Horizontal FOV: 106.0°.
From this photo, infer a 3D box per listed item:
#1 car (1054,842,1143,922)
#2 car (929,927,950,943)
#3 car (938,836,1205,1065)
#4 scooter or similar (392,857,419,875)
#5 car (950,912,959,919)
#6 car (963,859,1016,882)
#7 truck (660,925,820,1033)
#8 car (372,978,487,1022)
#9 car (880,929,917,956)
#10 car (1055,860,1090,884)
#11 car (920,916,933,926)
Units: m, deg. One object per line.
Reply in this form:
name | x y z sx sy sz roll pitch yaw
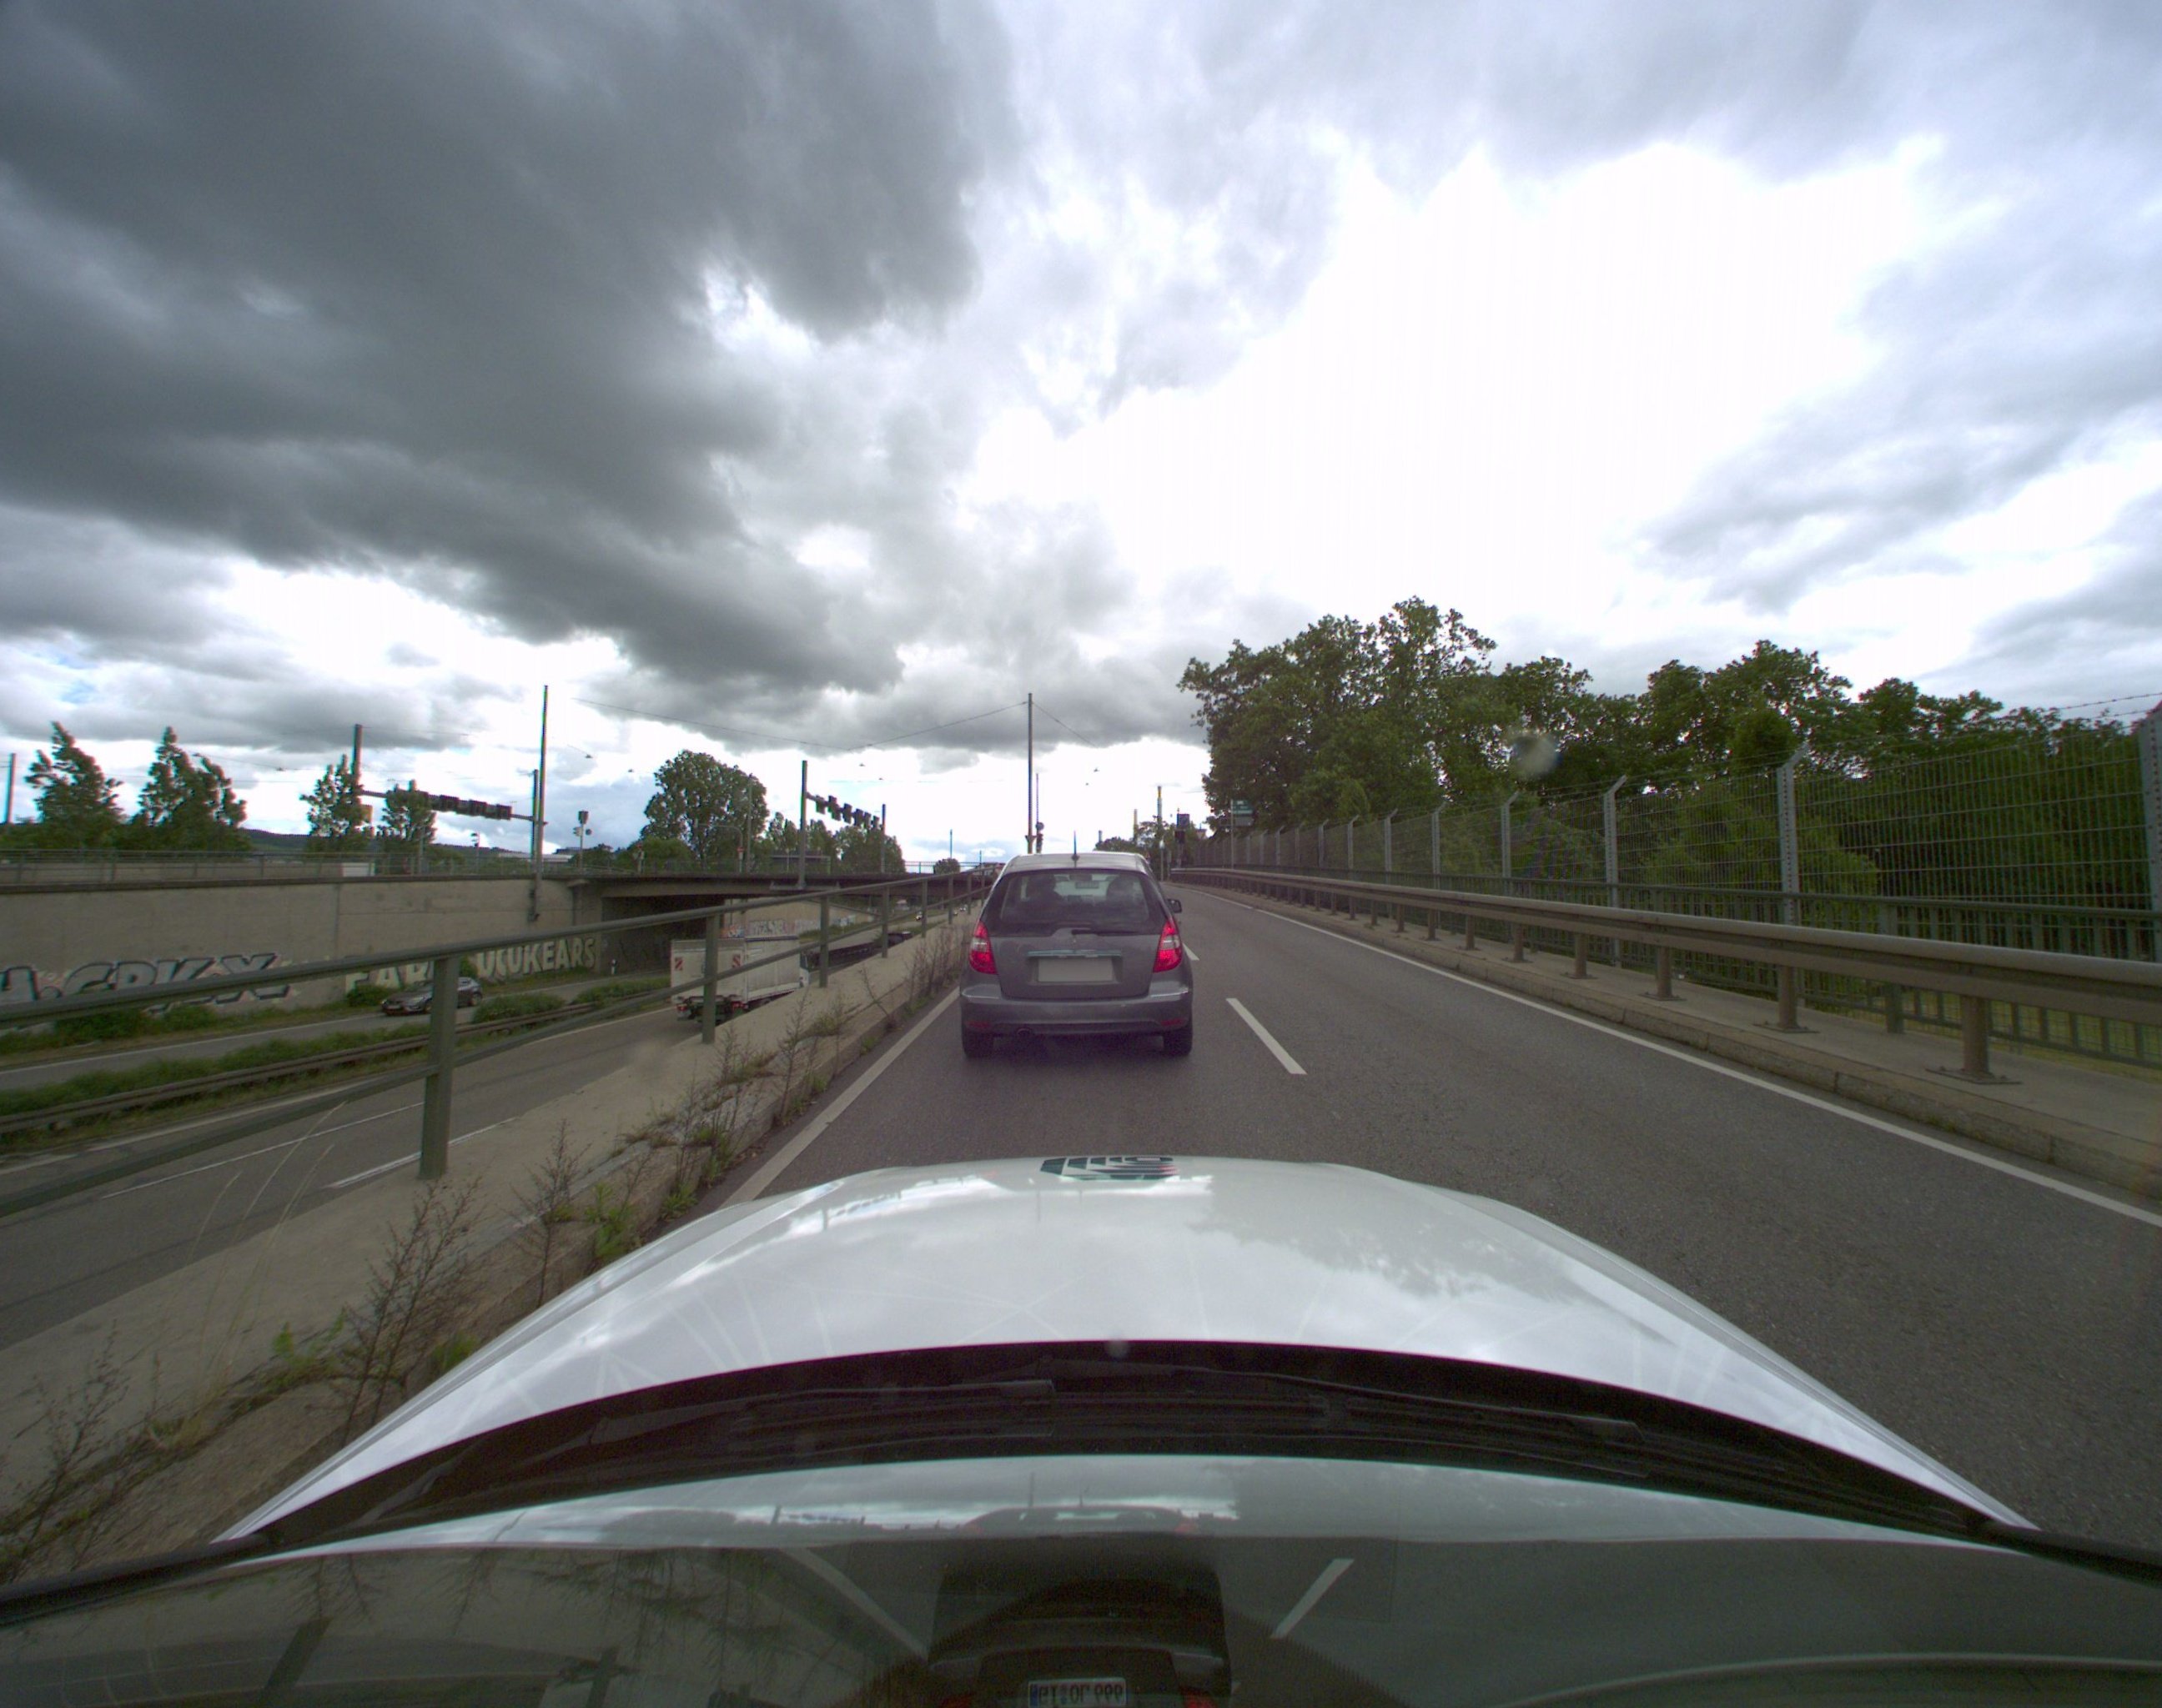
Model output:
car | 0.394 0.629 19.955 1.925 1.717 4.405 0 -1 0
car | -16.357 9.351 94.242 1.893 1.622 4.174 0 -3 -2
car | -0.005 0.680 7.677 1.851 1.588 4.002 0 0 2
scooter or similar | -42.087 0.755 50.757 0.542 1.094 1.414 -1 -3 -4
car | -35.744 17.460 230.461 1.910 1.739 4.549 -1 -3 -1
car | -7.866 1.421 69.735 4.159 1.870 2.013 -1 -1 35
truck | -12.662 4.528 31.105 2.736 3.293 7.442 -2 -3 2
car | -28.690 6.411 36.044 1.705 1.376 4.110 -2 -4 1
car | -15.737 7.616 70.496 1.891 2.003 4.959 -1 -3 2
car | -0.656 1.284 59.771 1.932 1.717 3.985 0 -1 -11
car | -34.586 14.928 182.522 1.988 2.067 5.172 0 -3 -2
